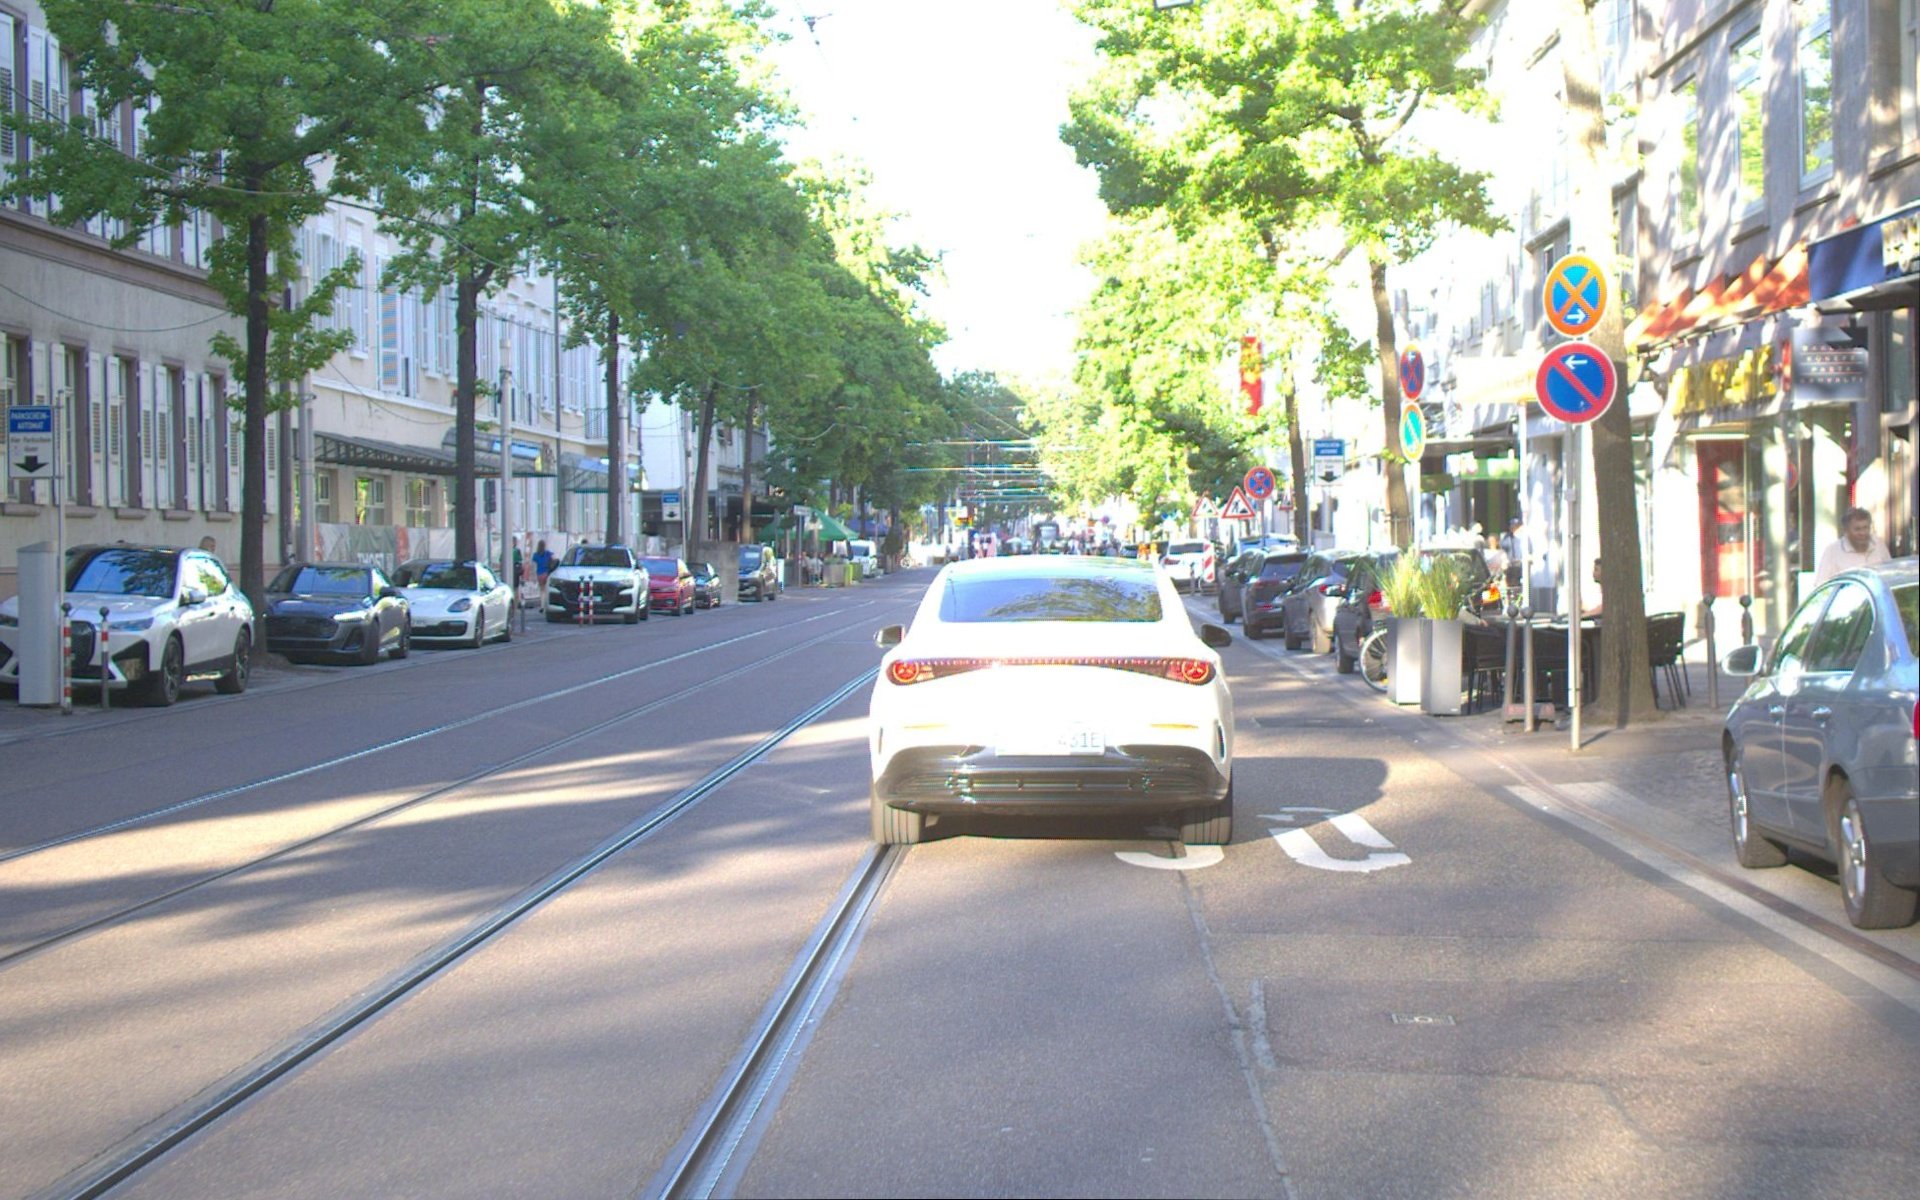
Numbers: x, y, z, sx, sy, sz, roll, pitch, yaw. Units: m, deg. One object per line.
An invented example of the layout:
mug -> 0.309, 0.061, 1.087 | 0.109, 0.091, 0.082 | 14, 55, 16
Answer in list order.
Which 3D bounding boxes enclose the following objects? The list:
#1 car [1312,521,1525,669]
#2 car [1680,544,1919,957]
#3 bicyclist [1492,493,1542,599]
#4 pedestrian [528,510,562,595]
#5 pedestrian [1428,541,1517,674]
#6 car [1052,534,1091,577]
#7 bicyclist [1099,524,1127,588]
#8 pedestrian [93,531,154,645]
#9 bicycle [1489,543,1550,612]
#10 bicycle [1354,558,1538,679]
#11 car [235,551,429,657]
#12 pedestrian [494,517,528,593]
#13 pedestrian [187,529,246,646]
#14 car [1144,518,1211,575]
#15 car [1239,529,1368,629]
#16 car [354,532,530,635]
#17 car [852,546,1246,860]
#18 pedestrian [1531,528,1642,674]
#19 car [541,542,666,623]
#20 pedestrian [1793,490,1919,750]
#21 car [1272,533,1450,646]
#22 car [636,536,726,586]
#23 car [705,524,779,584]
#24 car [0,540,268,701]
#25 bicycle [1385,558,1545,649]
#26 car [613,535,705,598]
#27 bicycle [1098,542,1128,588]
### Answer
car -> 5.211, -0.086, 39.480 | 1.800, 1.453, 3.655 | -5, 1, -1
car -> 4.413, 0.493, 14.762 | 1.776, 1.435, 4.422 | -5, 1, 2
bicyclist -> 9.036, -0.882, 55.776 | 0.639, 1.678, 0.600 | -2, 1, 0
pedestrian -> -9.890, -1.125, 81.961 | 0.707, 1.997, 0.675 | -2, 1, -4
pedestrian -> 5.018, 0.068, 33.669 | 0.817, 1.261, 0.586 | -2, 1, 7
car -> 6.750, -2.703, 208.240 | 1.993, 2.532, 4.001 | -1, 1, -3
bicyclist -> 4.149, -1.193, 93.223 | 0.725, 1.697, 0.811 | -2, 1, 3
pedestrian -> -12.419, -0.184, 51.068 | 0.674, 1.674, 0.647 | -2, 1, 2
bicycle -> 9.052, -0.374, 55.708 | 0.647, 1.070, 1.861 | -2, 1, 0
bicycle -> 5.003, 0.191, 35.418 | 1.728, 1.135, 0.546 | -3, 0, 23
car -> -9.022, 0.024, 49.766 | 1.962, 1.408, 4.847 | -1, 1, -1
pedestrian -> -10.725, -1.079, 82.098 | 0.707, 1.800, 0.675 | -2, 1, -3
pedestrian -> -11.028, -0.184, 51.003 | 0.686, 1.715, 0.656 | -1, 1, 2
car -> 6.998, -1.746, 110.963 | 1.993, 1.722, 4.241 | -2, 1, 2
car -> 5.605, -0.374, 56.463 | 1.871, 1.448, 4.106 | -4, 1, 4
car -> -8.633, -0.309, 57.706 | 1.947, 1.634, 4.908 | -1, 1, 3
car -> 0.544, 0.457, 18.383 | 1.868, 1.464, 4.042 | 0, 1, 4
pedestrian -> 6.112, 0.004, 33.533 | 0.707, 1.382, 0.747 | -3, 1, -36
car -> -7.848, -0.425, 76.079 | 1.962, 1.686, 5.013 | -1, 1, 3
pedestrian -> 5.967, 0.117, 22.484 | 0.803, 1.637, 0.756 | -3, 1, 2
car -> 5.620, -0.175, 48.598 | 1.814, 1.481, 4.001 | -1, 1, -3
car -> -7.620, -1.084, 94.135 | 1.993, 1.287, 4.000 | -1, 1, 2
car -> -6.820, -1.451, 107.771 | 1.553, 1.789, 3.166 | -2, 1, 10
car -> -9.302, 0.174, 38.445 | 1.962, 1.634, 4.812 | 1, 1, 2
bicycle -> 6.457, 0.044, 44.007 | 1.855, 1.070, 0.712 | -3, 1, -7
car -> -7.504, -0.859, 85.952 | 1.689, 1.494, 4.234 | -1, 1, 3
bicycle -> 4.152, -0.954, 93.189 | 0.740, 1.184, 2.160 | -2, 1, 3
